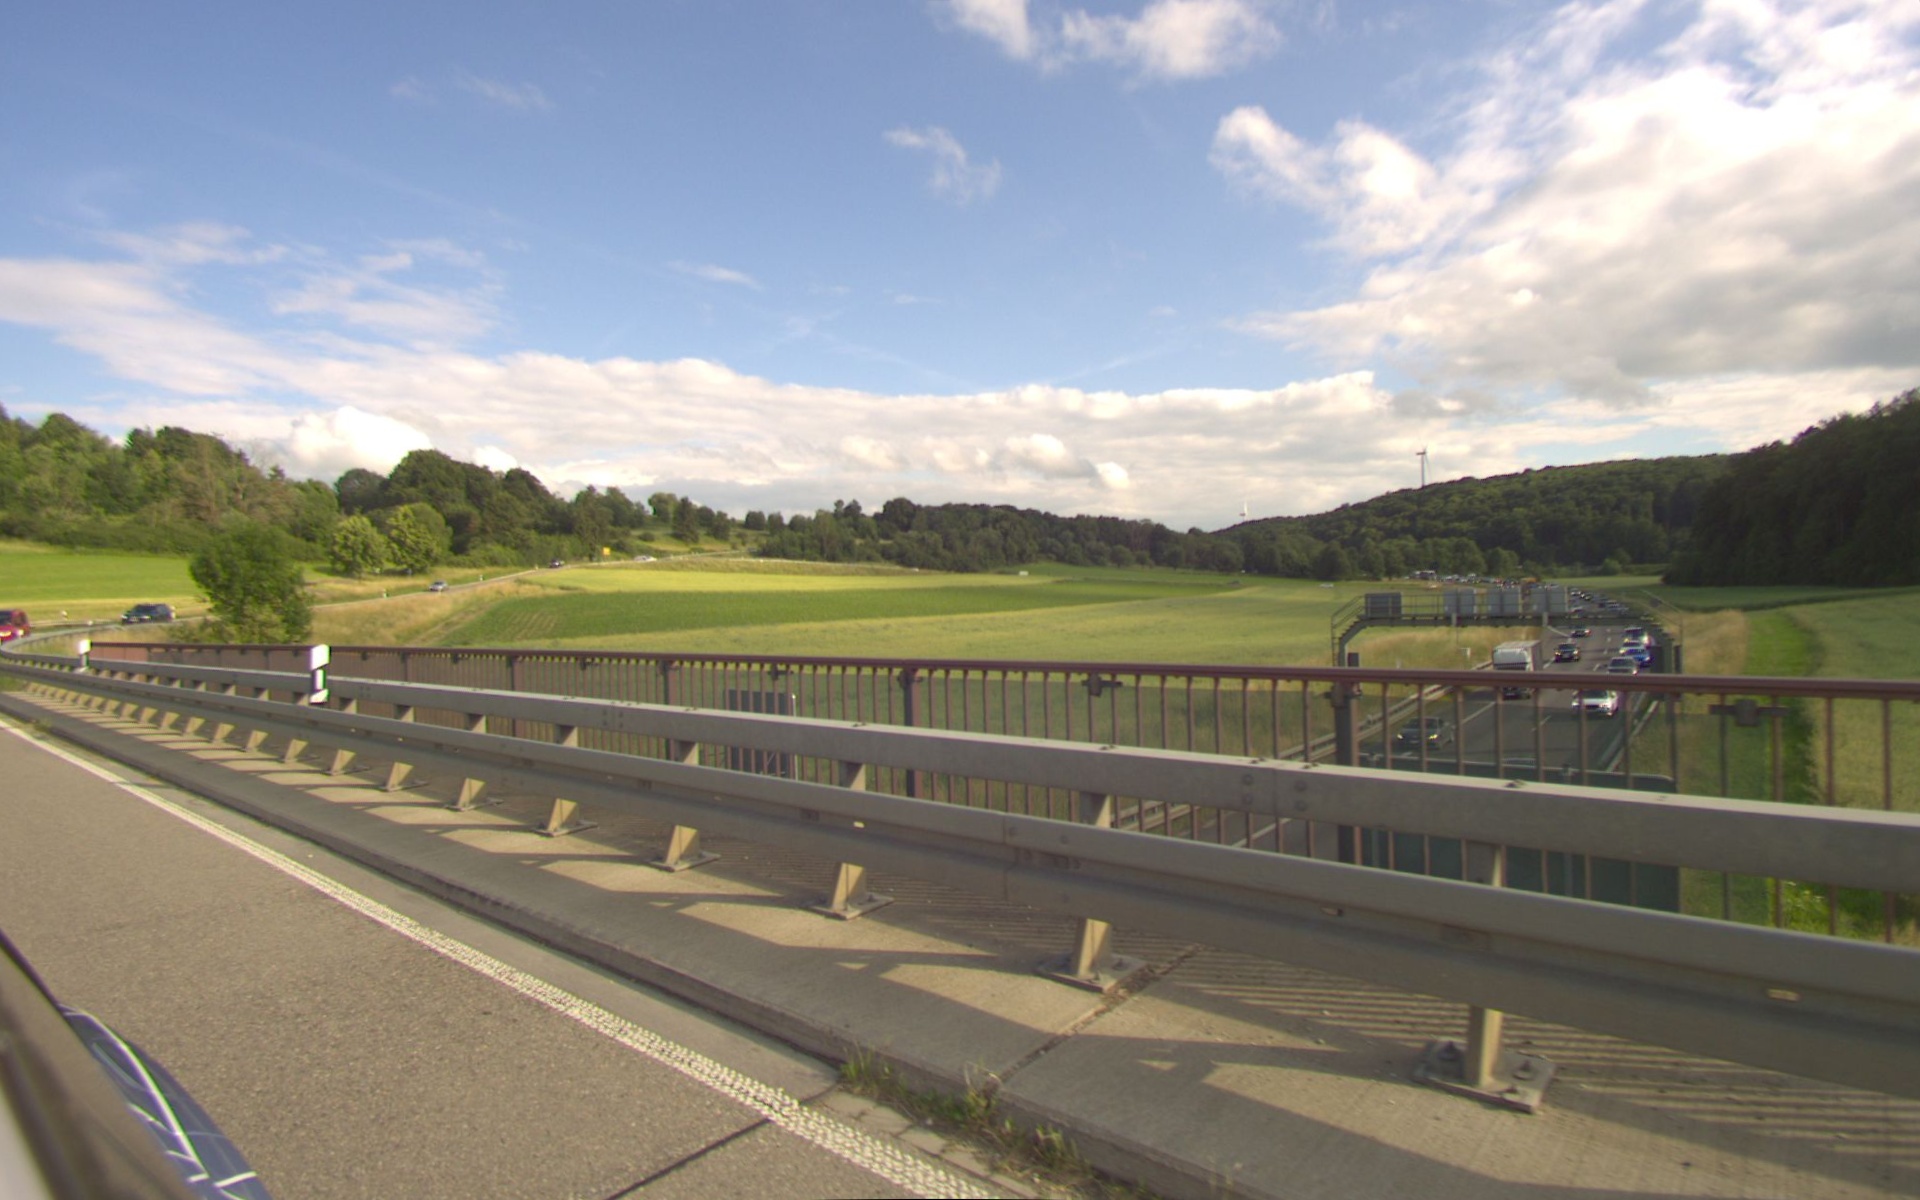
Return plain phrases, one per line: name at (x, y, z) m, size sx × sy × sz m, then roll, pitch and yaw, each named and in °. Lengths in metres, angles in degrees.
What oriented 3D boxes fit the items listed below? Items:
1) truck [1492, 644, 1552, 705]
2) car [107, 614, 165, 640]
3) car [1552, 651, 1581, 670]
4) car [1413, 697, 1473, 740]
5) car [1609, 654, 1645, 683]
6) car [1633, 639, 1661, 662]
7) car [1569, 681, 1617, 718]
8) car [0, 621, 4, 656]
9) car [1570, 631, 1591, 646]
truck at (37.399, 4.850, 67.231) m, size 2.121 × 3.431 × 8.386 m, roll -1°, pitch -1°, yaw 38°
car at (-56.437, 1.823, 69.421) m, size 1.791 × 1.623 × 4.013 m, roll 1°, pitch 1°, yaw -19°
car at (53.602, 5.303, 89.391) m, size 1.713 × 1.342 × 3.950 m, roll -1°, pitch 1°, yaw 37°
car at (23.846, 5.794, 49.866) m, size 1.986 × 1.727 × 3.950 m, roll -1°, pitch -3°, yaw 36°
car at (46.230, 4.724, 70.087) m, size 1.825 × 1.662 × 3.951 m, roll -1°, pitch 1°, yaw 37°
car at (62.775, 4.600, 92.437) m, size 1.995 × 1.740 × 3.954 m, roll 4°, pitch 4°, yaw 34°
car at (33.628, 5.240, 53.717) m, size 1.825 × 1.662 × 3.950 m, roll -1°, pitch -2°, yaw 37°
car at (-47.000, 1.878, 48.199) m, size 1.793 × 1.667 × 4.007 m, roll -2°, pitch 1°, yaw -39°
car at (73.250, 4.533, 119.489) m, size 1.824 × 1.453 × 3.952 m, roll -1°, pitch 1°, yaw 35°
